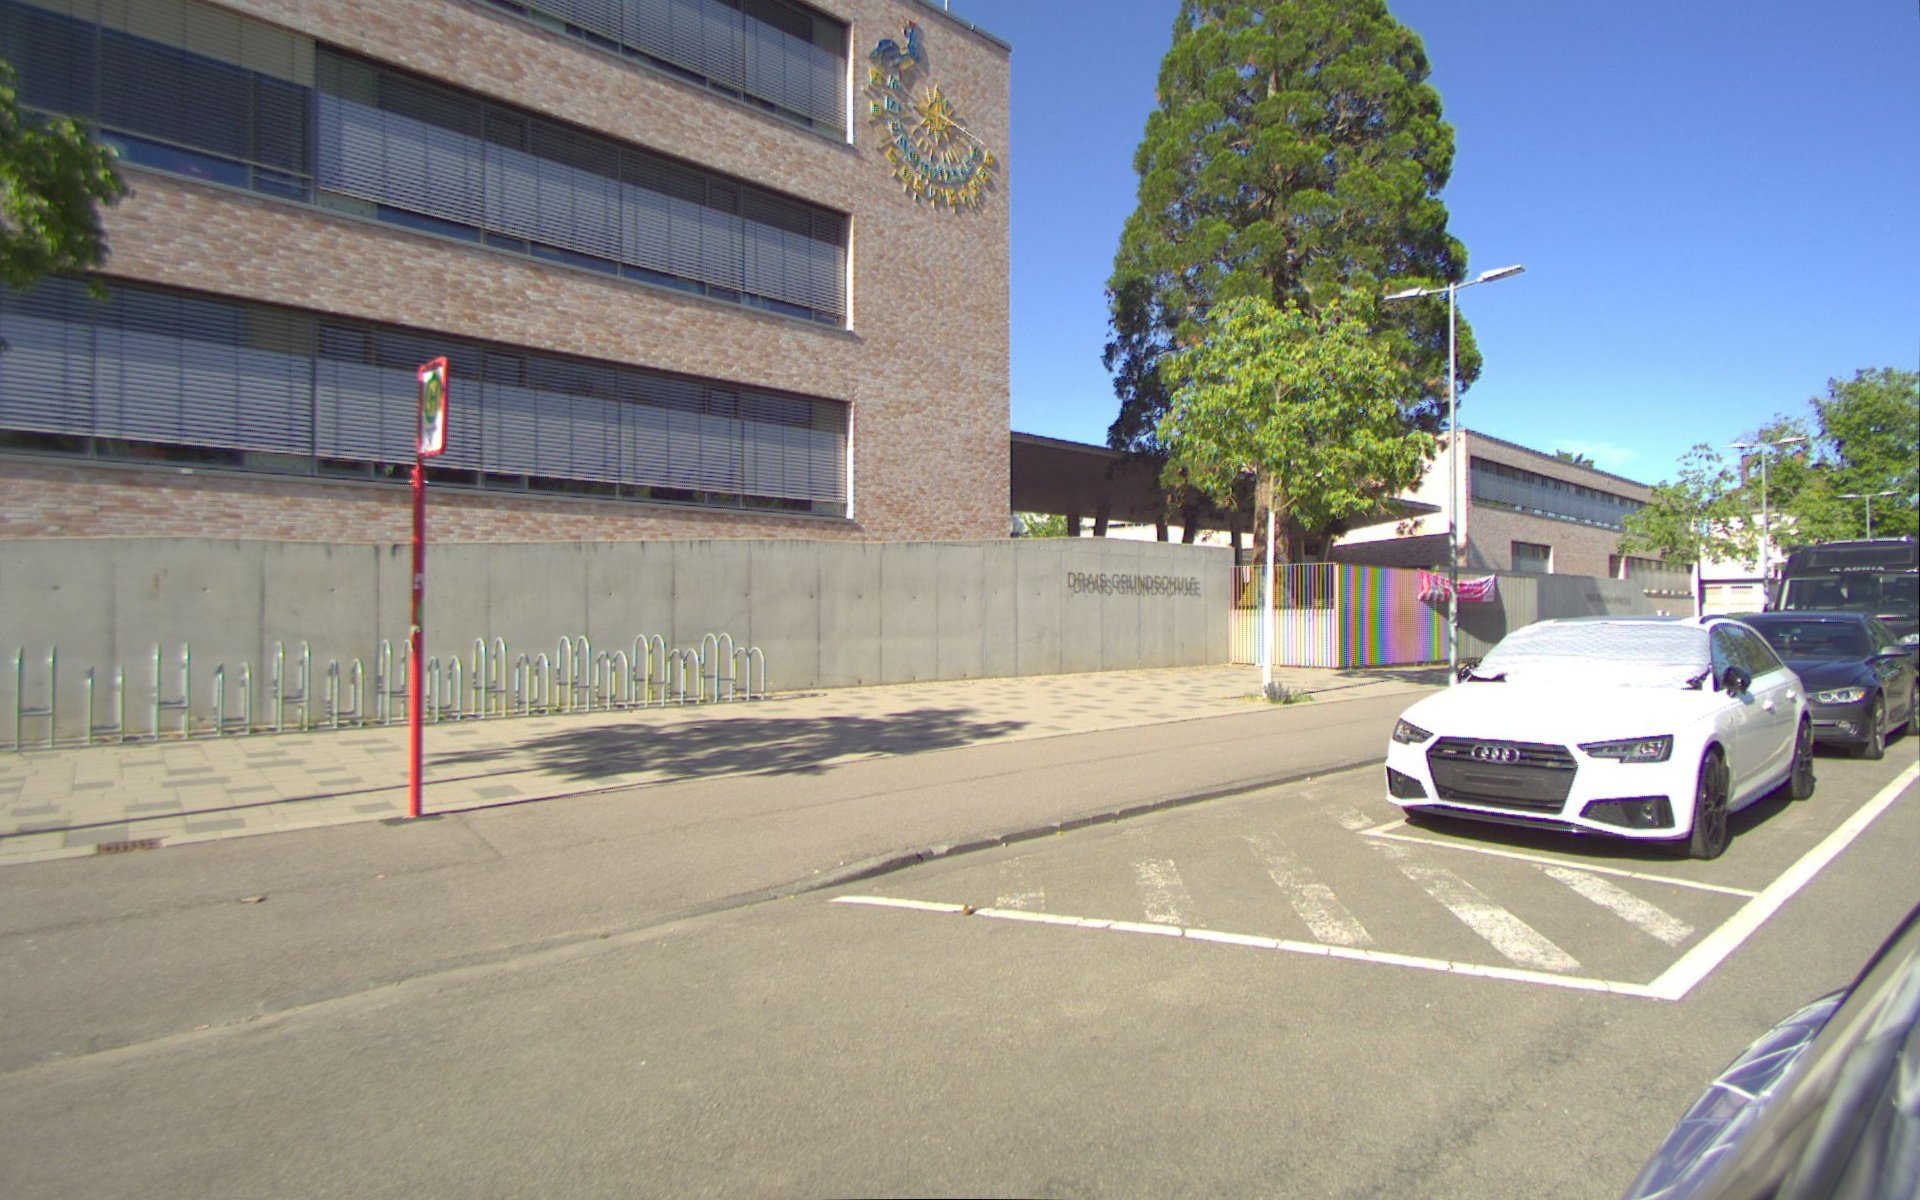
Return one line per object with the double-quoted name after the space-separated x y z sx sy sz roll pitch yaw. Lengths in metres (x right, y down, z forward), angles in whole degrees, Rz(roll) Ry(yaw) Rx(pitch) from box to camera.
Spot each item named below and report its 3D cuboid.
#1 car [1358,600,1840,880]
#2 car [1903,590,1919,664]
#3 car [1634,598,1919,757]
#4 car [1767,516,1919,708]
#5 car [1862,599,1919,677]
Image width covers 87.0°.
4.896 0.725 7.437 4.577 1.438 1.797 0 0 -42 "car"
23.752 0.603 23.833 4.426 1.661 1.848 0 0 -42 "car"
9.541 0.704 11.467 4.554 1.438 1.997 0 0 -40 "car"
14.729 0.156 15.984 6.420 2.547 2.118 0 0 -43 "car"
19.695 0.719 20.412 3.881 1.473 1.797 0 0 -42 "car"
